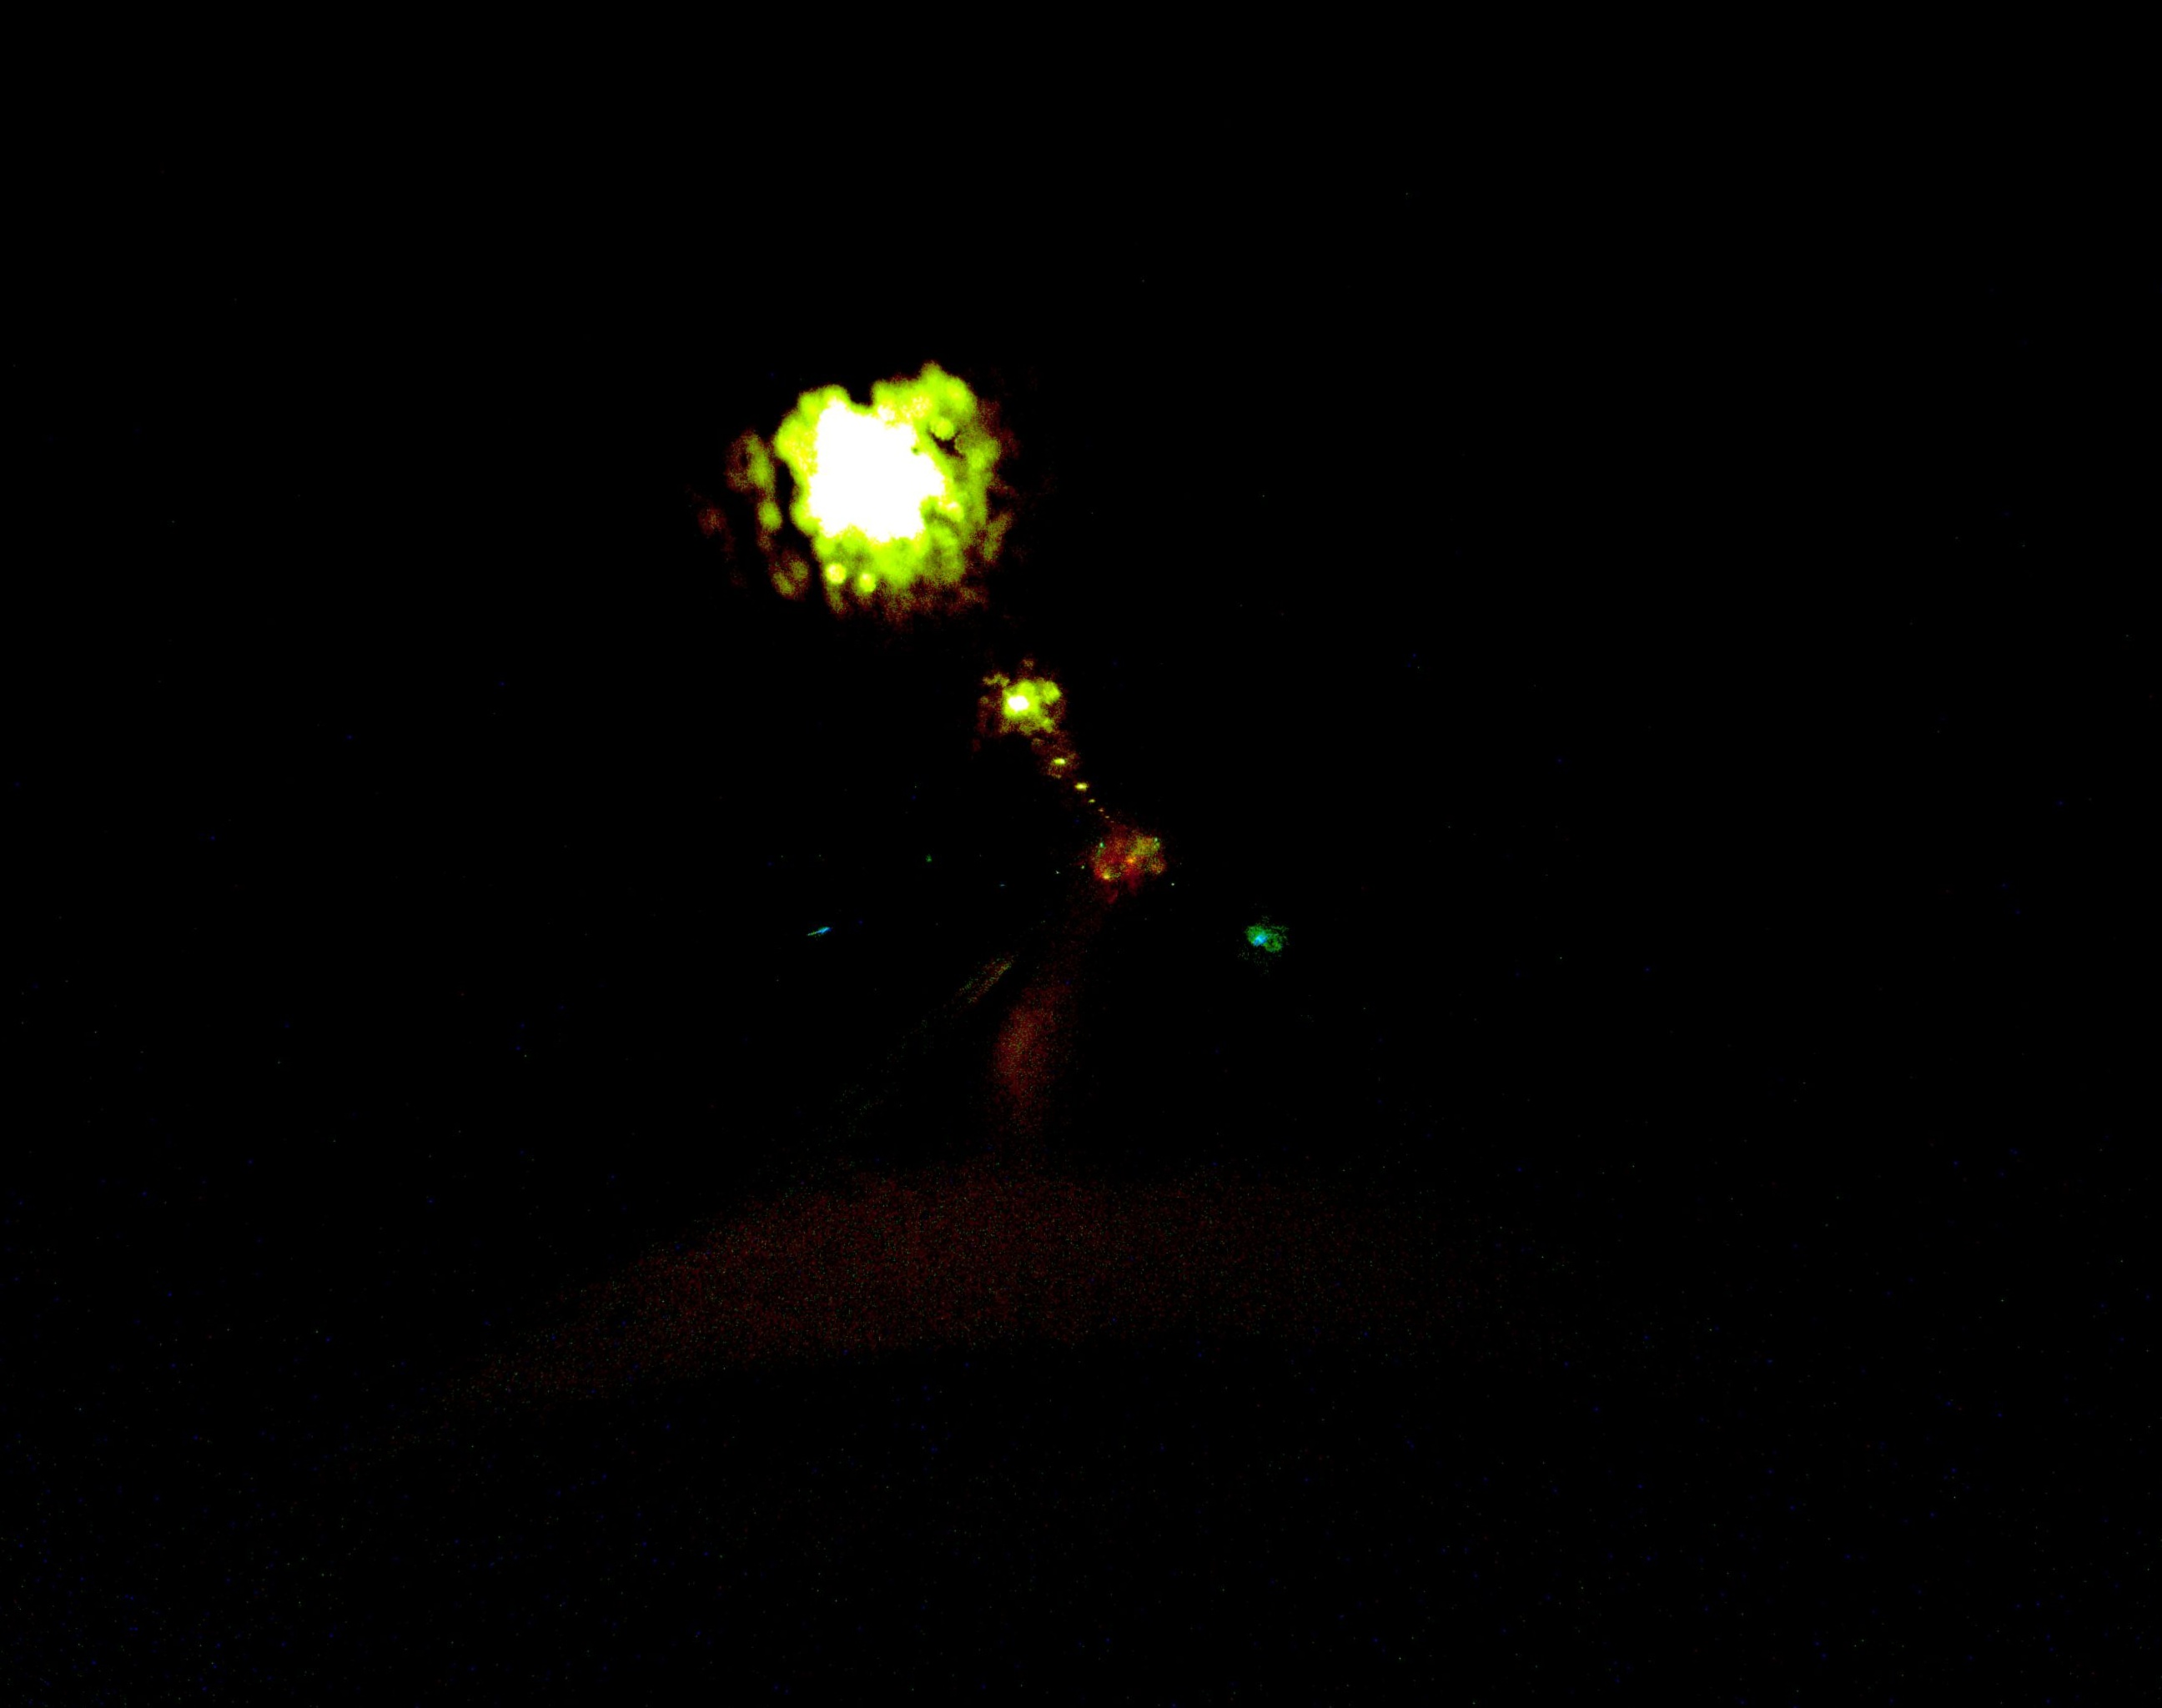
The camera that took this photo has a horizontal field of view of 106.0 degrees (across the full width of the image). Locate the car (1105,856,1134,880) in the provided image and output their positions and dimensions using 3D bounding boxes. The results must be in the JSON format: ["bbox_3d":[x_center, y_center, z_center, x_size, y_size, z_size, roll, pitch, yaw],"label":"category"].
[{"bbox_3d":[2.909,1.030,60.421,2.080,1.662,4.004,-1,-1,4],"label":"car"}]
